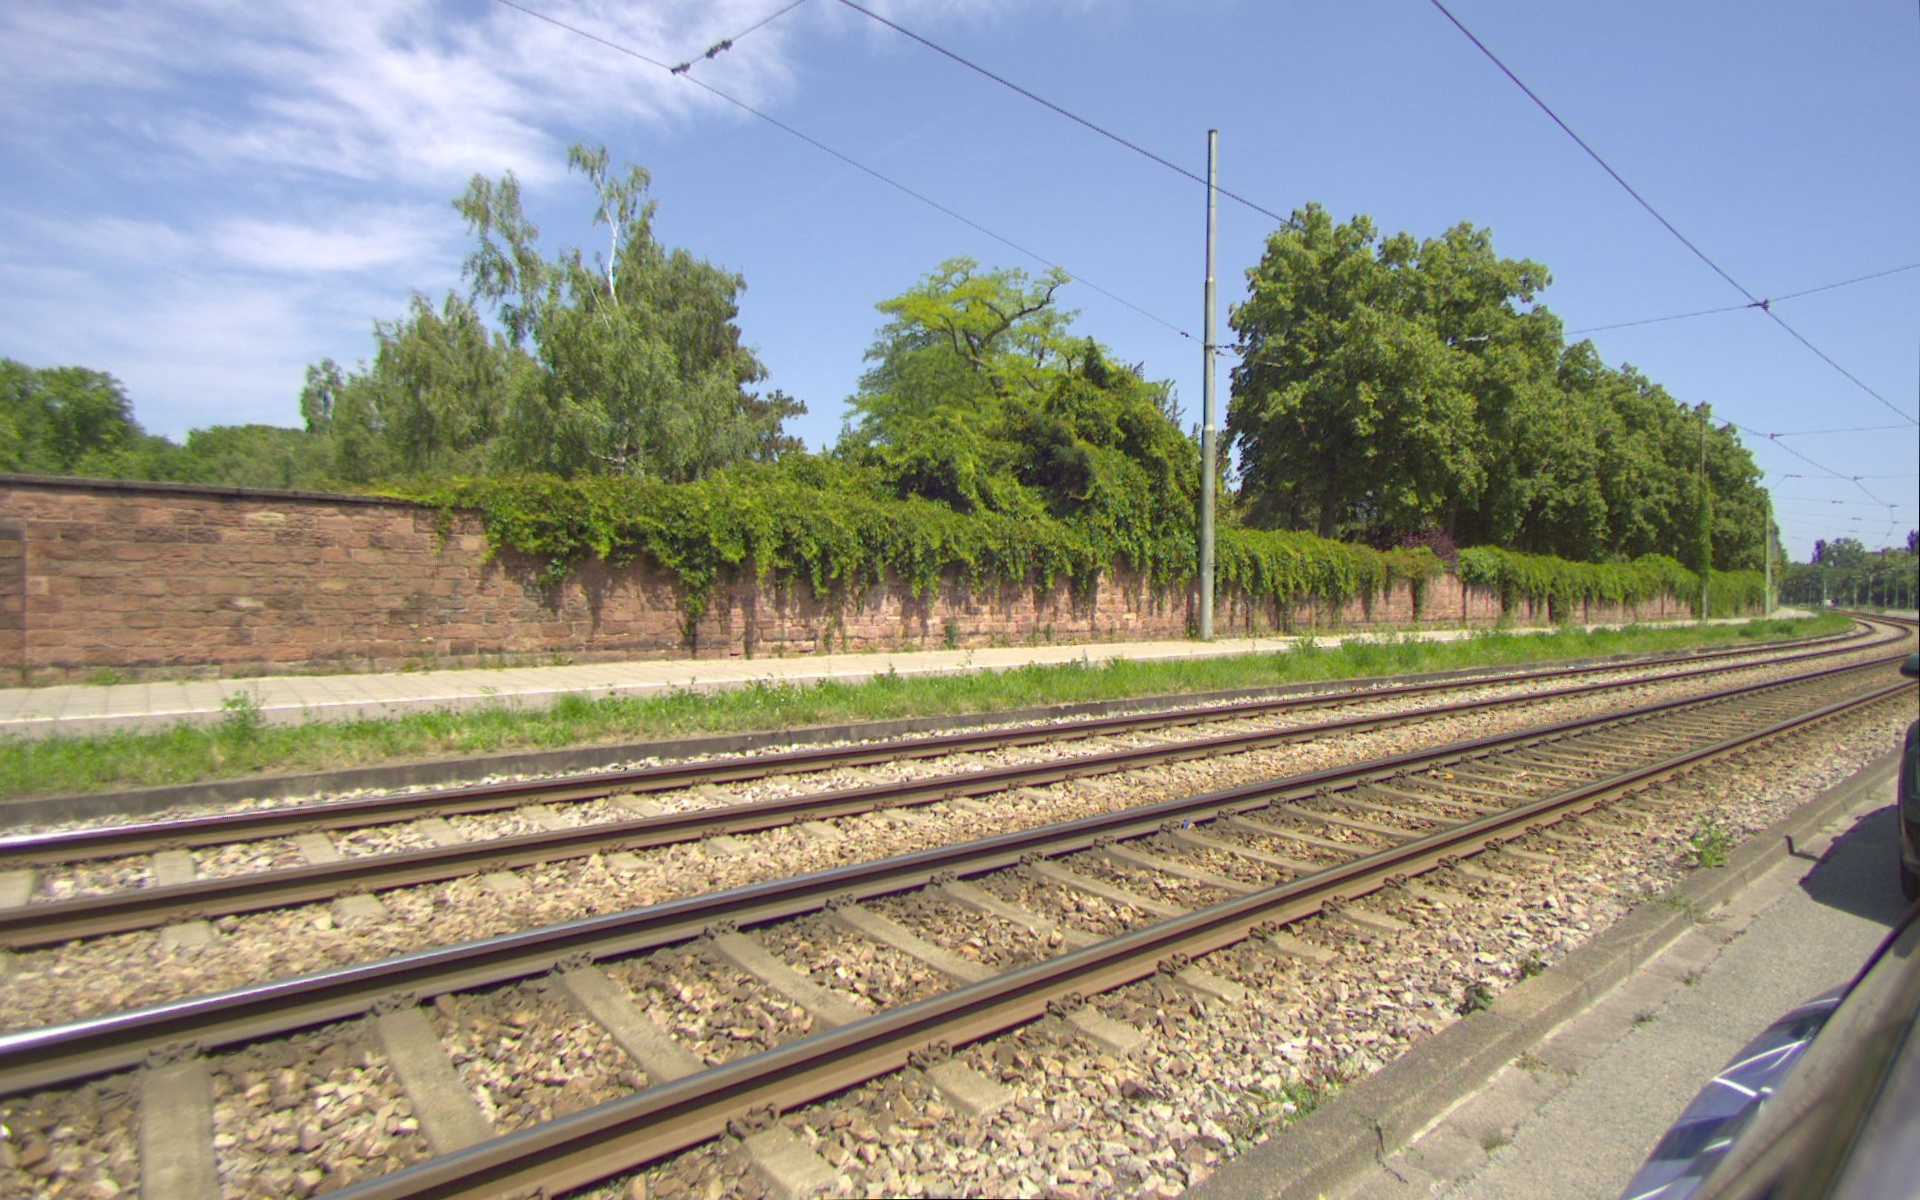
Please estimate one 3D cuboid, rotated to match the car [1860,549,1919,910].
[{"bbox_3d":[6.220,0.552,4.944,3.927,1.563,2.062,0,-1,-38],"label":"car"}]
